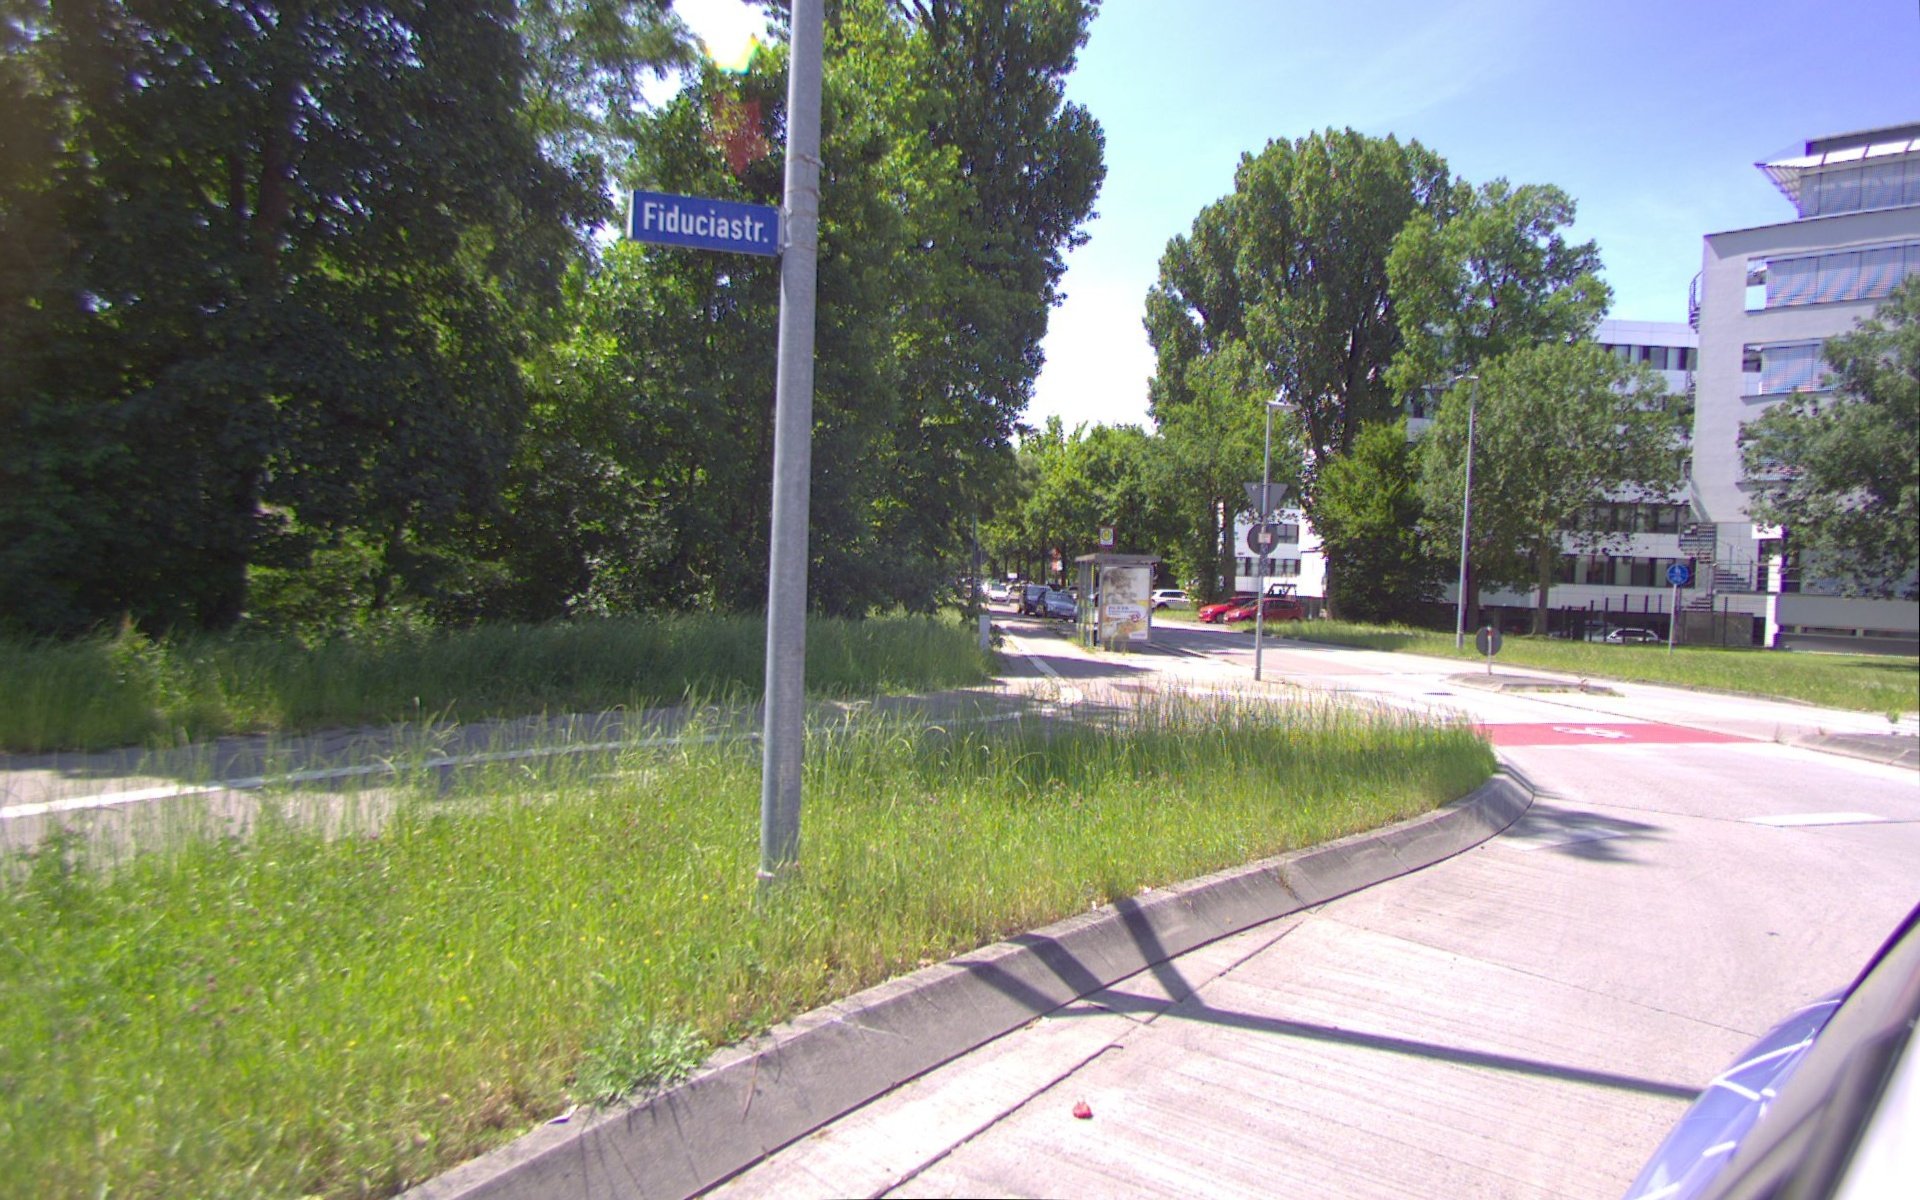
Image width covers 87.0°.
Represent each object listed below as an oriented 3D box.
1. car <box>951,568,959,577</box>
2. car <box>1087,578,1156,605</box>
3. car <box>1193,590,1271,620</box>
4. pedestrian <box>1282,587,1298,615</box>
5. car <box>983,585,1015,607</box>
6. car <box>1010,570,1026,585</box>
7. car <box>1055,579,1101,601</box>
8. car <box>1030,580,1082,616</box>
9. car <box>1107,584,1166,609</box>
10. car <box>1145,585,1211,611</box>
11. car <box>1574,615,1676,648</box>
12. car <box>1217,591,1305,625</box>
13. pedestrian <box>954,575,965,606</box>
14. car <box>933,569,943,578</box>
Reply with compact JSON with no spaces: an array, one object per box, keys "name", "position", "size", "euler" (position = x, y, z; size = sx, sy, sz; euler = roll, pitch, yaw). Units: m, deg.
[{"name":"car","position":[-1.078,-6.309,230.864],"size":[1.805,1.838,3.743],"euler":[1,0,0]},{"name":"car","position":[12.967,-0.687,81.374],"size":[5.209,2.010,1.761],"euler":[1,0,-4]},{"name":"car","position":[14.673,0.280,54.655],"size":[3.609,1.502,1.872],"euler":[1,0,-8]},{"name":"pedestrian","position":[19.261,0.070,59.027],"size":[0.560,1.628,0.646],"euler":[1,0,-18]},{"name":"car","position":[2.785,-0.310,73.032],"size":[1.961,1.488,4.002],"euler":[1,0,-2]},{"name":"car","position":[7.696,-2.944,135.466],"size":[1.615,1.905,3.799],"euler":[1,0,-4]},{"name":"car","position":[10.901,-0.913,93.522],"size":[3.919,1.896,1.686],"euler":[1,0,-6]},{"name":"car","position":[4.485,-0.096,47.659],"size":[1.669,1.504,4.003],"euler":[4,0,-4]},{"name":"car","position":[12.922,-0.277,74.391],"size":[3.921,1.727,1.761],"euler":[1,0,-4]},{"name":"car","position":[13.895,-0.107,64.575],"size":[3.710,1.536,1.815],"euler":[1,0,-5]},{"name":"car","position":[35.637,1.665,54.283],"size":[4.270,1.588,1.855],"euler":[1,0,-4]},{"name":"car","position":[14.724,0.383,49.604],"size":[3.609,1.502,1.872],"euler":[1,0,-8]},{"name":"pedestrian","position":[-0.060,-0.617,67.716],"size":[0.587,2.039,0.604],"euler":[1,0,-10]},{"name":"car","position":[-4.145,-4.919,188.934],"size":[1.881,1.705,4.001],"euler":[1,0,-1]}]
